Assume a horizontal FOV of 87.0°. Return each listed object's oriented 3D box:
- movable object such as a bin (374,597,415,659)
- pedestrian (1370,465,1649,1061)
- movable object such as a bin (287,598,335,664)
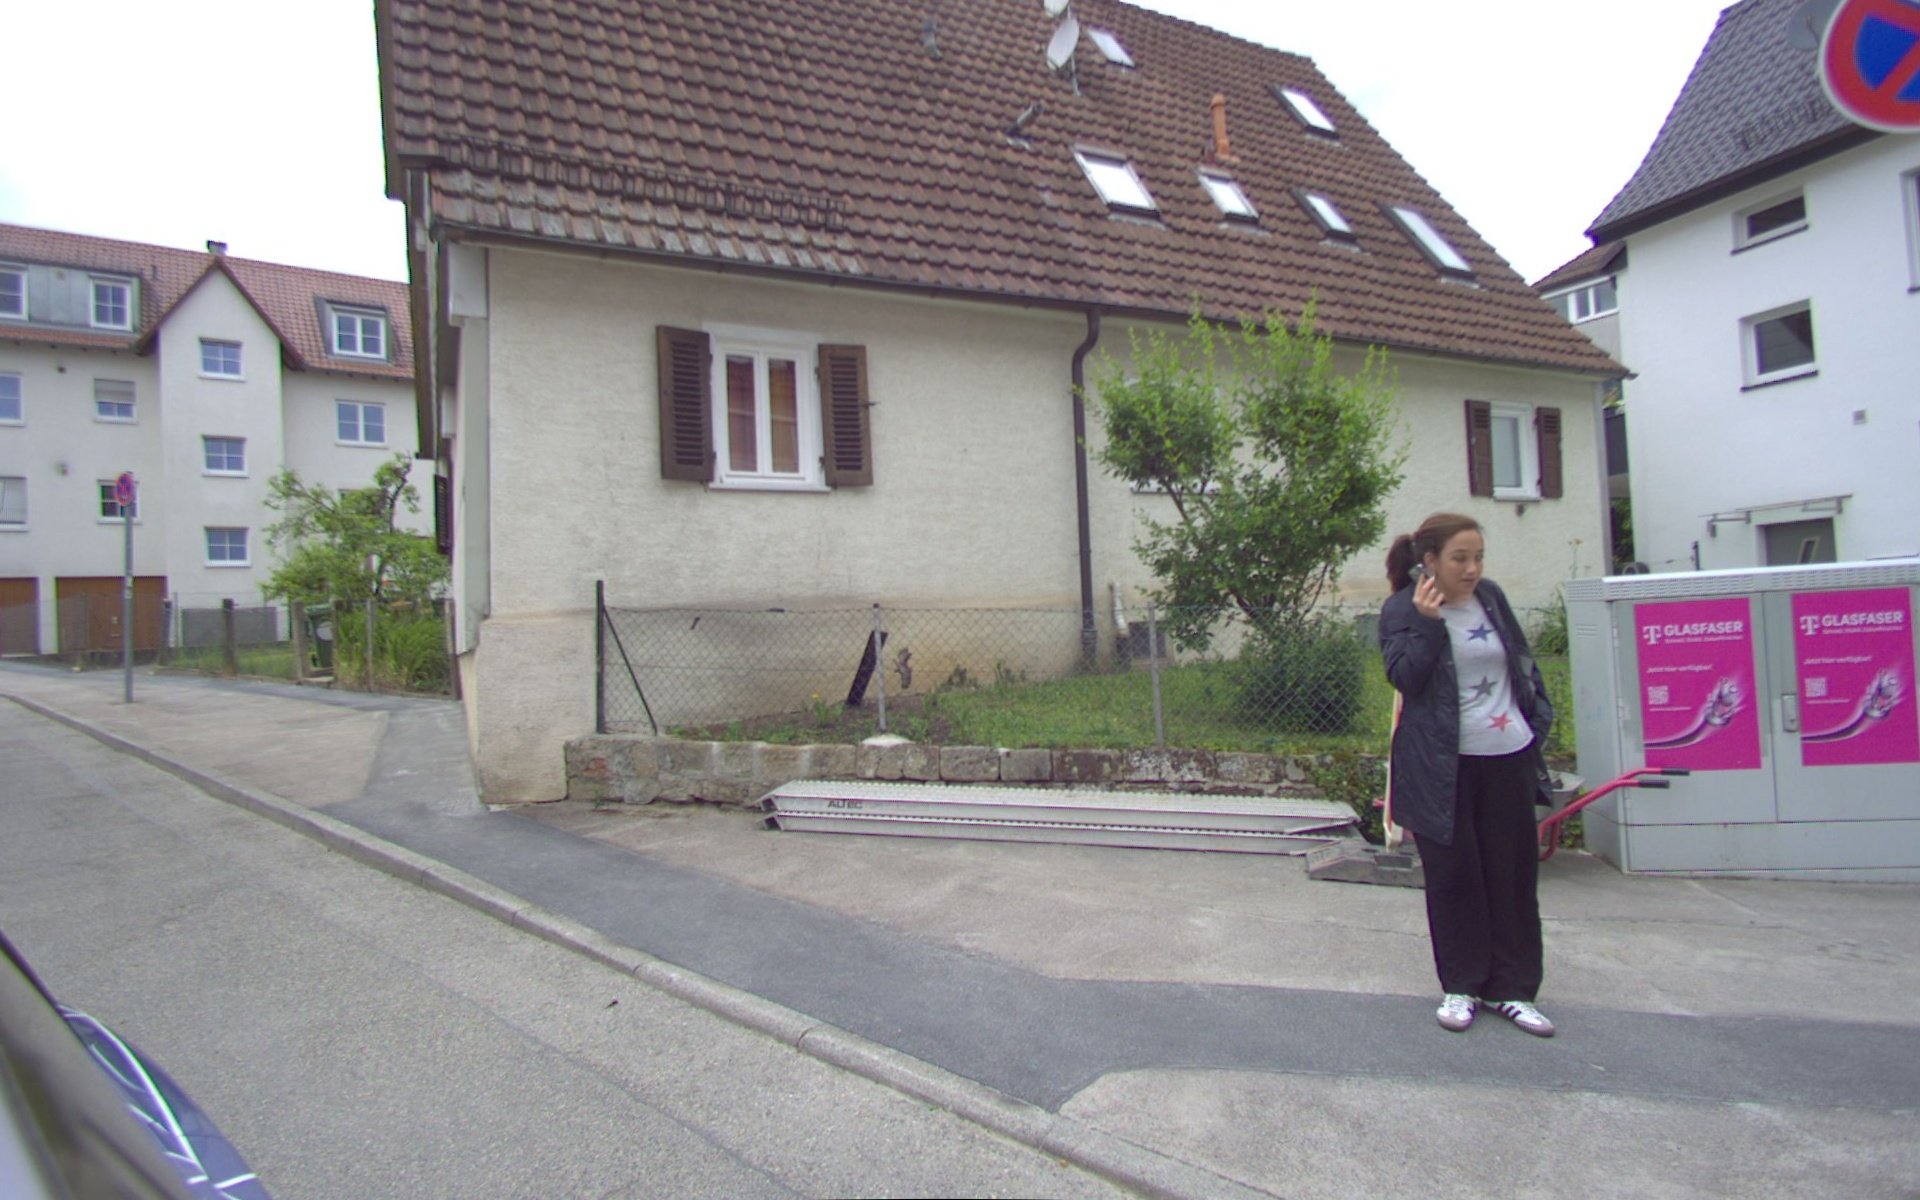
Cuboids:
[{"bbox_3d":[-8.655,0.426,15.483,0.487,0.884,0.454,-4,4,-30],"label":"movable object such as a bin"},{"bbox_3d":[1.720,0.469,3.269,0.598,1.697,0.646,-1,0,14],"label":"pedestrian"},{"bbox_3d":[-9.529,0.446,14.877,0.519,0.890,0.492,-4,4,-31],"label":"movable object such as a bin"}]
